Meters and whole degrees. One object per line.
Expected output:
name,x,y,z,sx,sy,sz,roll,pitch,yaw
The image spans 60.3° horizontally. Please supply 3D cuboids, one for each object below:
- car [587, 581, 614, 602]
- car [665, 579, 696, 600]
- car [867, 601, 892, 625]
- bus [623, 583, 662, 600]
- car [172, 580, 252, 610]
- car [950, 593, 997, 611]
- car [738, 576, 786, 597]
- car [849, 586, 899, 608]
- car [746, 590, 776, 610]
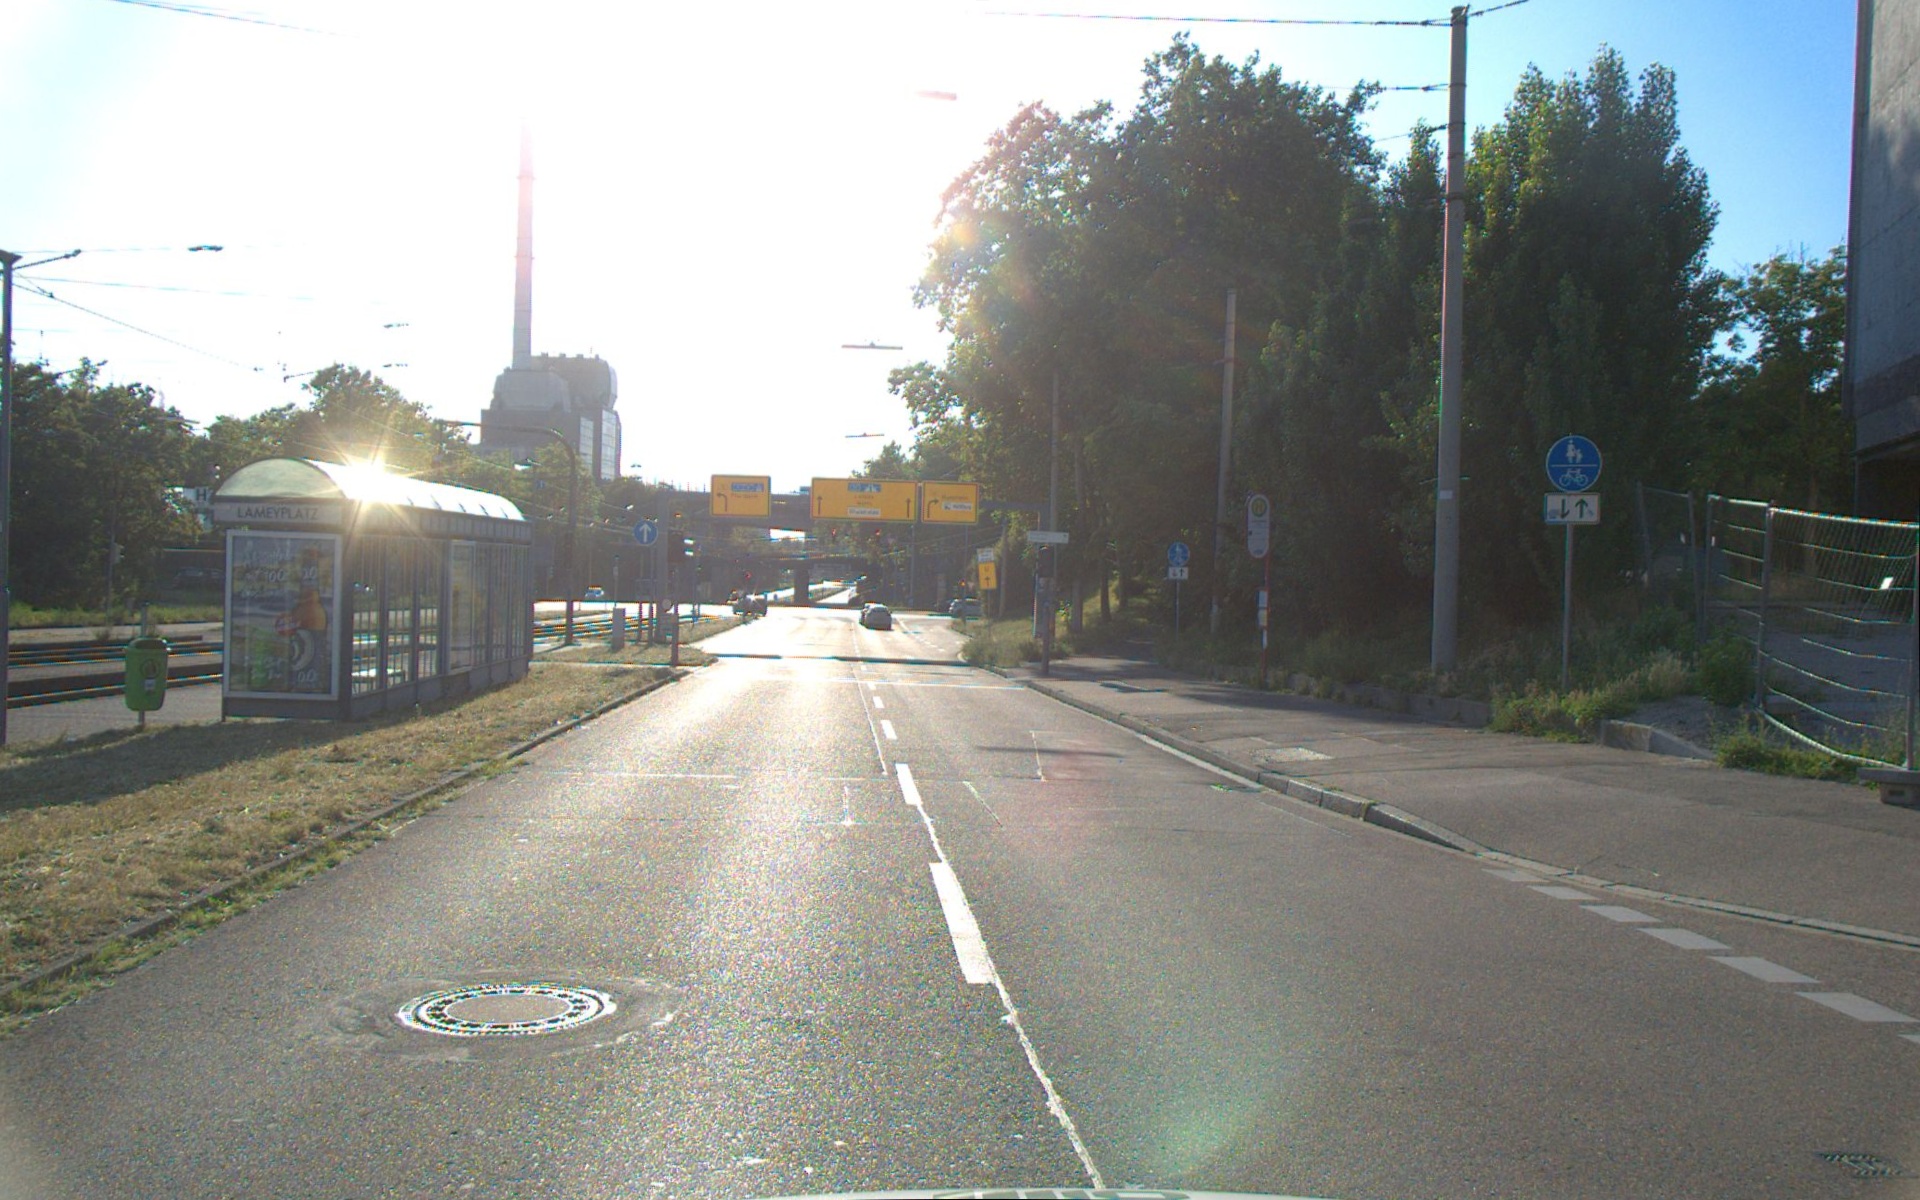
car,-36.636,-0.869,168.616,1.953,2.049,3.999,1,0,-1
car,-28.056,-1.048,166.124,1.952,2.049,4.865,1,0,3
car,-5.175,0.833,106.574,1.484,1.411,3.363,2,2,-1
bus,-38.953,-1.046,203.198,2.531,2.049,12.293,1,0,-1
car,-49.642,-0.329,109.730,4.721,1.876,1.981,1,0,-29
car,1.175,0.164,143.248,3.908,1.471,1.773,1,0,-4
car,-21.361,-1.454,178.332,4.684,2.048,2.001,2,2,18
car,-8.768,-0.340,168.807,4.744,2.048,2.002,2,2,16
car,-15.359,0.003,127.737,1.996,1.471,3.999,1,1,-2
